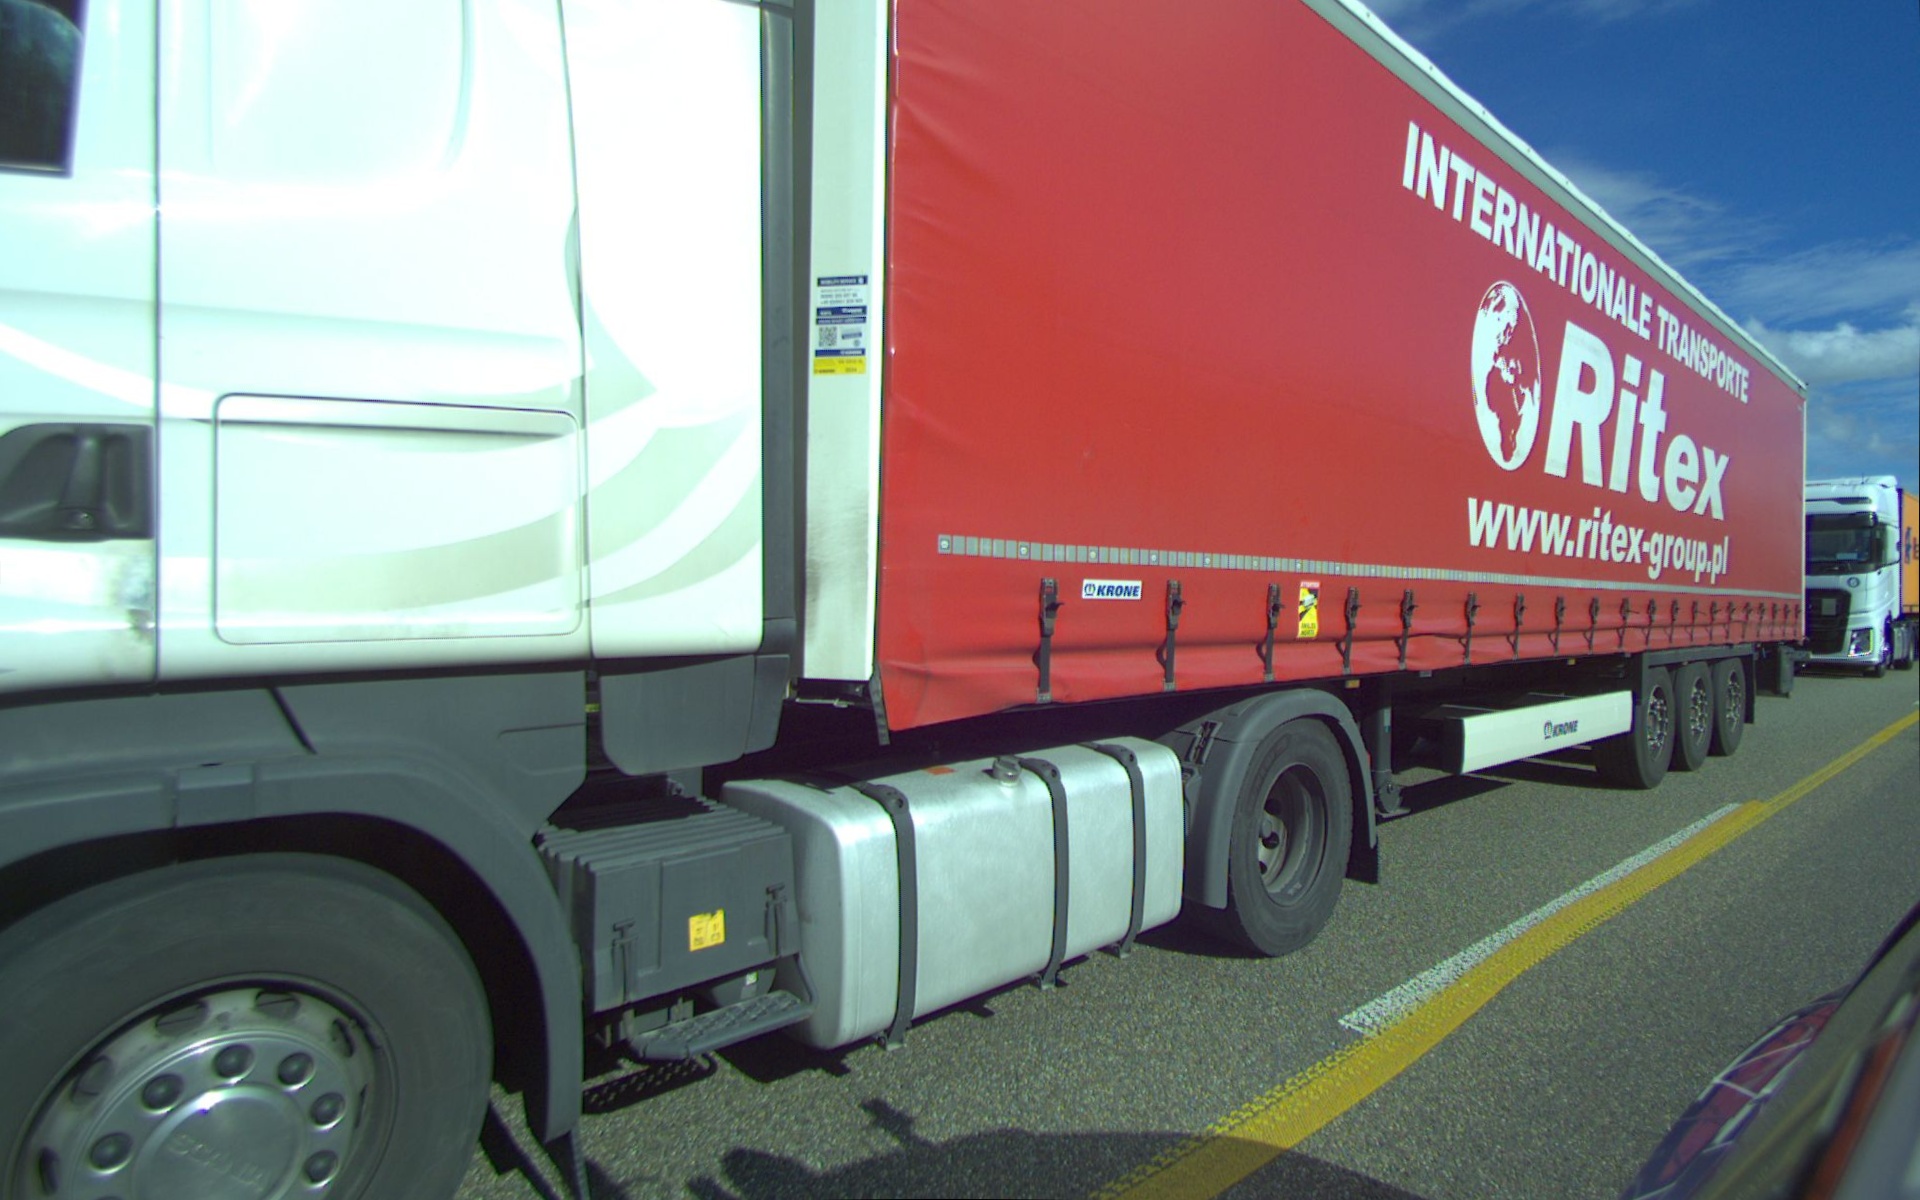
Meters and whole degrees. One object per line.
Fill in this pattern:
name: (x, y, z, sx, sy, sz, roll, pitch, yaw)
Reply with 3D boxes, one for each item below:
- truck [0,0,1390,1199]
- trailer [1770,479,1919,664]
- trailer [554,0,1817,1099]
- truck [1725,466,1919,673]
truck: (-1.042, -0.689, 3.641, 5.612, 4.010, 2.671, 0, 0, -42)
trailer: (23.606, -0.614, 25.843, 11.923, 3.822, 2.475, 0, 0, -41)
trailer: (3.916, -0.730, 8.078, 13.186, 4.019, 2.703, 0, 0, -42)
truck: (18.565, -0.587, 21.496, 5.687, 3.828, 2.499, 0, 0, -40)
